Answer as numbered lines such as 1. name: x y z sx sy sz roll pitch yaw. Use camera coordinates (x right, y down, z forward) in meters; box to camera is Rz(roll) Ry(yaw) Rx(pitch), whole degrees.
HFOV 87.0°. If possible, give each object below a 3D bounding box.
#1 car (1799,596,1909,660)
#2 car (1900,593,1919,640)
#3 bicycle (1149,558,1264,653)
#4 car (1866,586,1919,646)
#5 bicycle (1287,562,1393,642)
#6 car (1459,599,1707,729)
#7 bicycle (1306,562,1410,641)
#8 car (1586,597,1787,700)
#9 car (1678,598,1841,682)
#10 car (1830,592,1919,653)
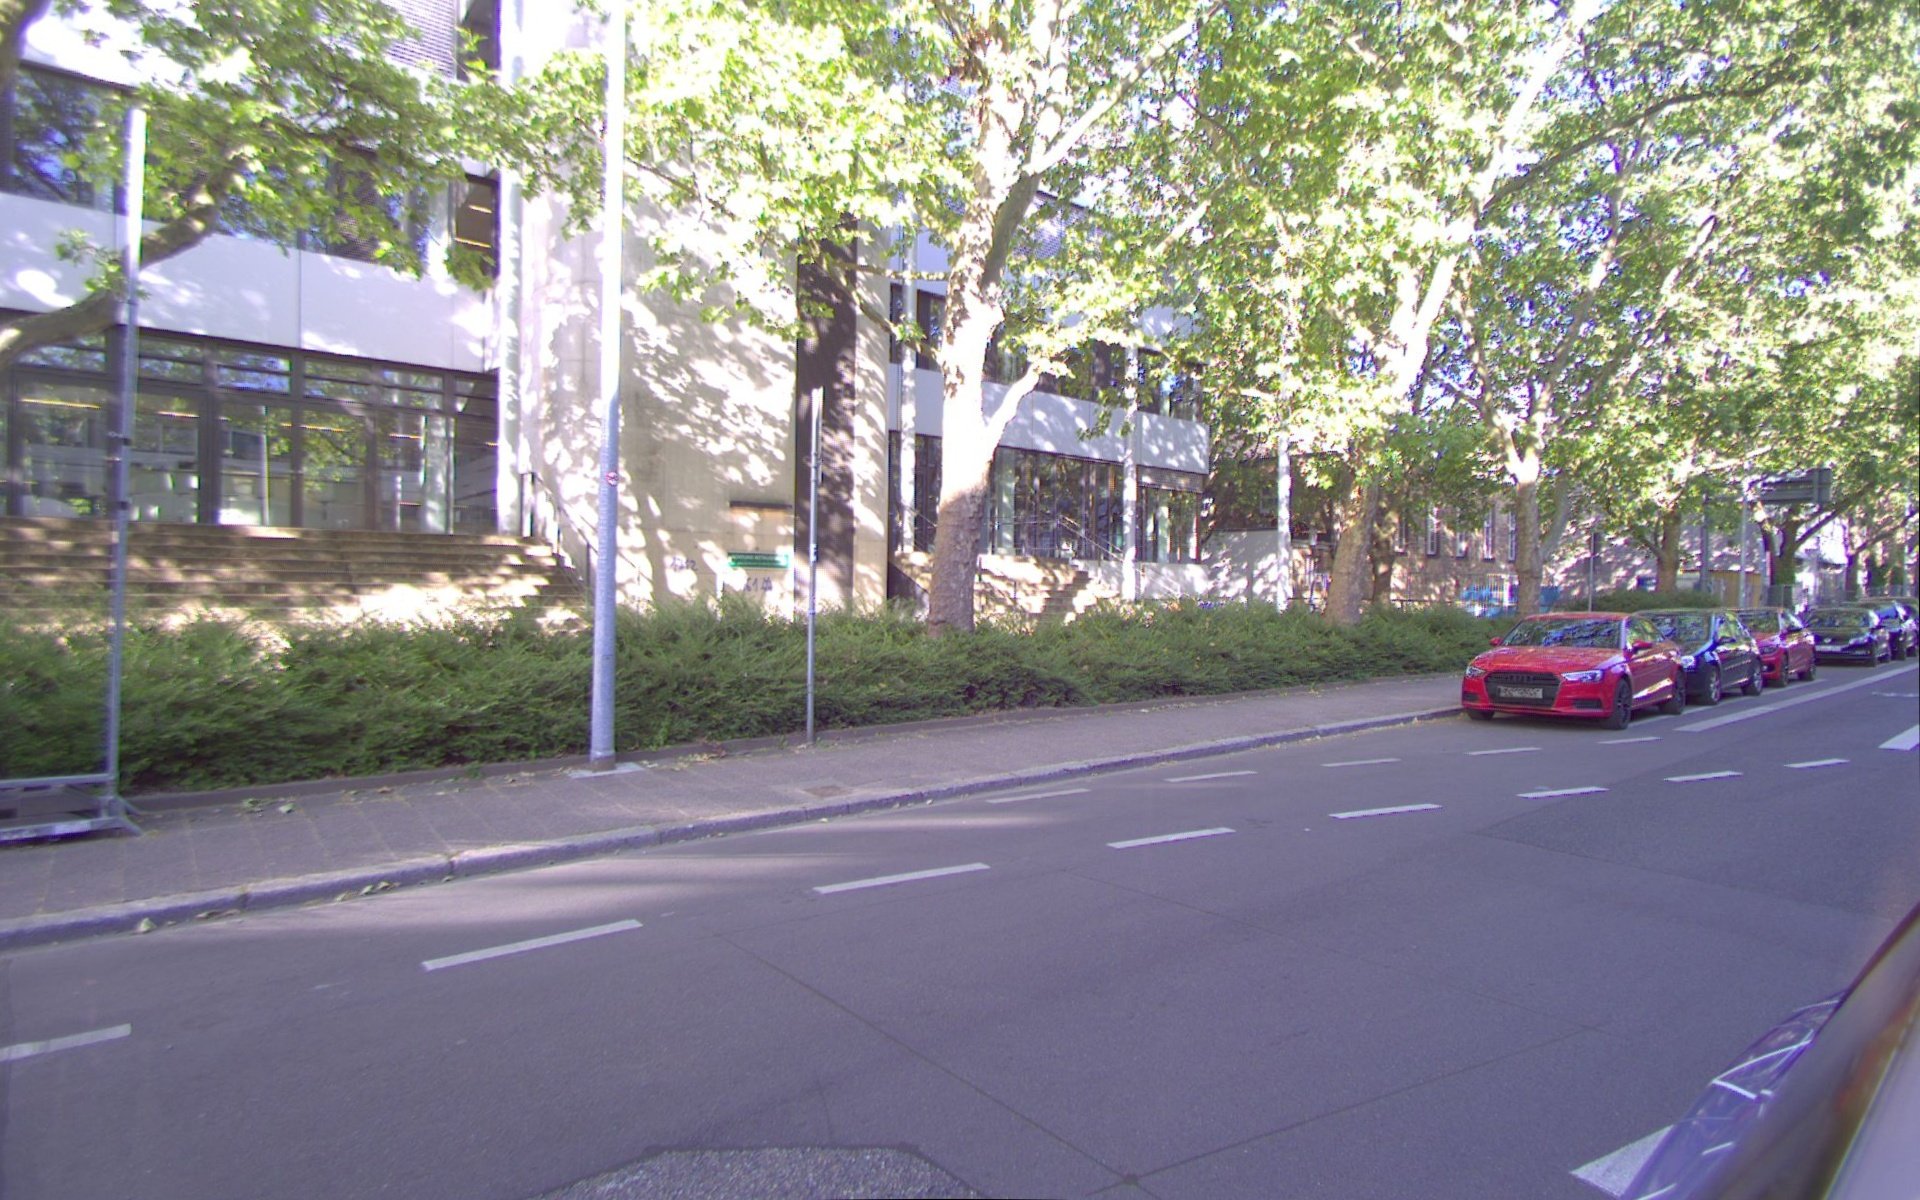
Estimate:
1. car: 22.996 0.677 25.983 3.952 1.523 1.694 0 -1 -43
2. car: 36.084 0.577 37.324 4.256 1.648 1.694 0 -1 -43
3. bicycle: 5.526 0.087 22.862 0.729 2.039 2.603 0 1 -40
4. car: 31.052 0.504 33.228 1.823 1.865 4.826 -2 -1 41
5. bicycle: 10.053 0.026 26.902 0.729 2.039 2.603 0 1 -40
6. car: 8.456 0.736 13.576 4.360 1.468 1.694 0 -1 -43
7. bicycle: 10.766 0.016 27.472 0.729 2.039 2.603 0 1 -40
8. car: 12.014 0.719 16.660 3.992 1.485 1.696 0 -1 -39
9. car: 15.906 0.724 20.064 4.242 1.498 1.696 0 -1 -40
10. car: 26.682 0.617 29.224 4.541 1.648 1.778 0 -1 -42
